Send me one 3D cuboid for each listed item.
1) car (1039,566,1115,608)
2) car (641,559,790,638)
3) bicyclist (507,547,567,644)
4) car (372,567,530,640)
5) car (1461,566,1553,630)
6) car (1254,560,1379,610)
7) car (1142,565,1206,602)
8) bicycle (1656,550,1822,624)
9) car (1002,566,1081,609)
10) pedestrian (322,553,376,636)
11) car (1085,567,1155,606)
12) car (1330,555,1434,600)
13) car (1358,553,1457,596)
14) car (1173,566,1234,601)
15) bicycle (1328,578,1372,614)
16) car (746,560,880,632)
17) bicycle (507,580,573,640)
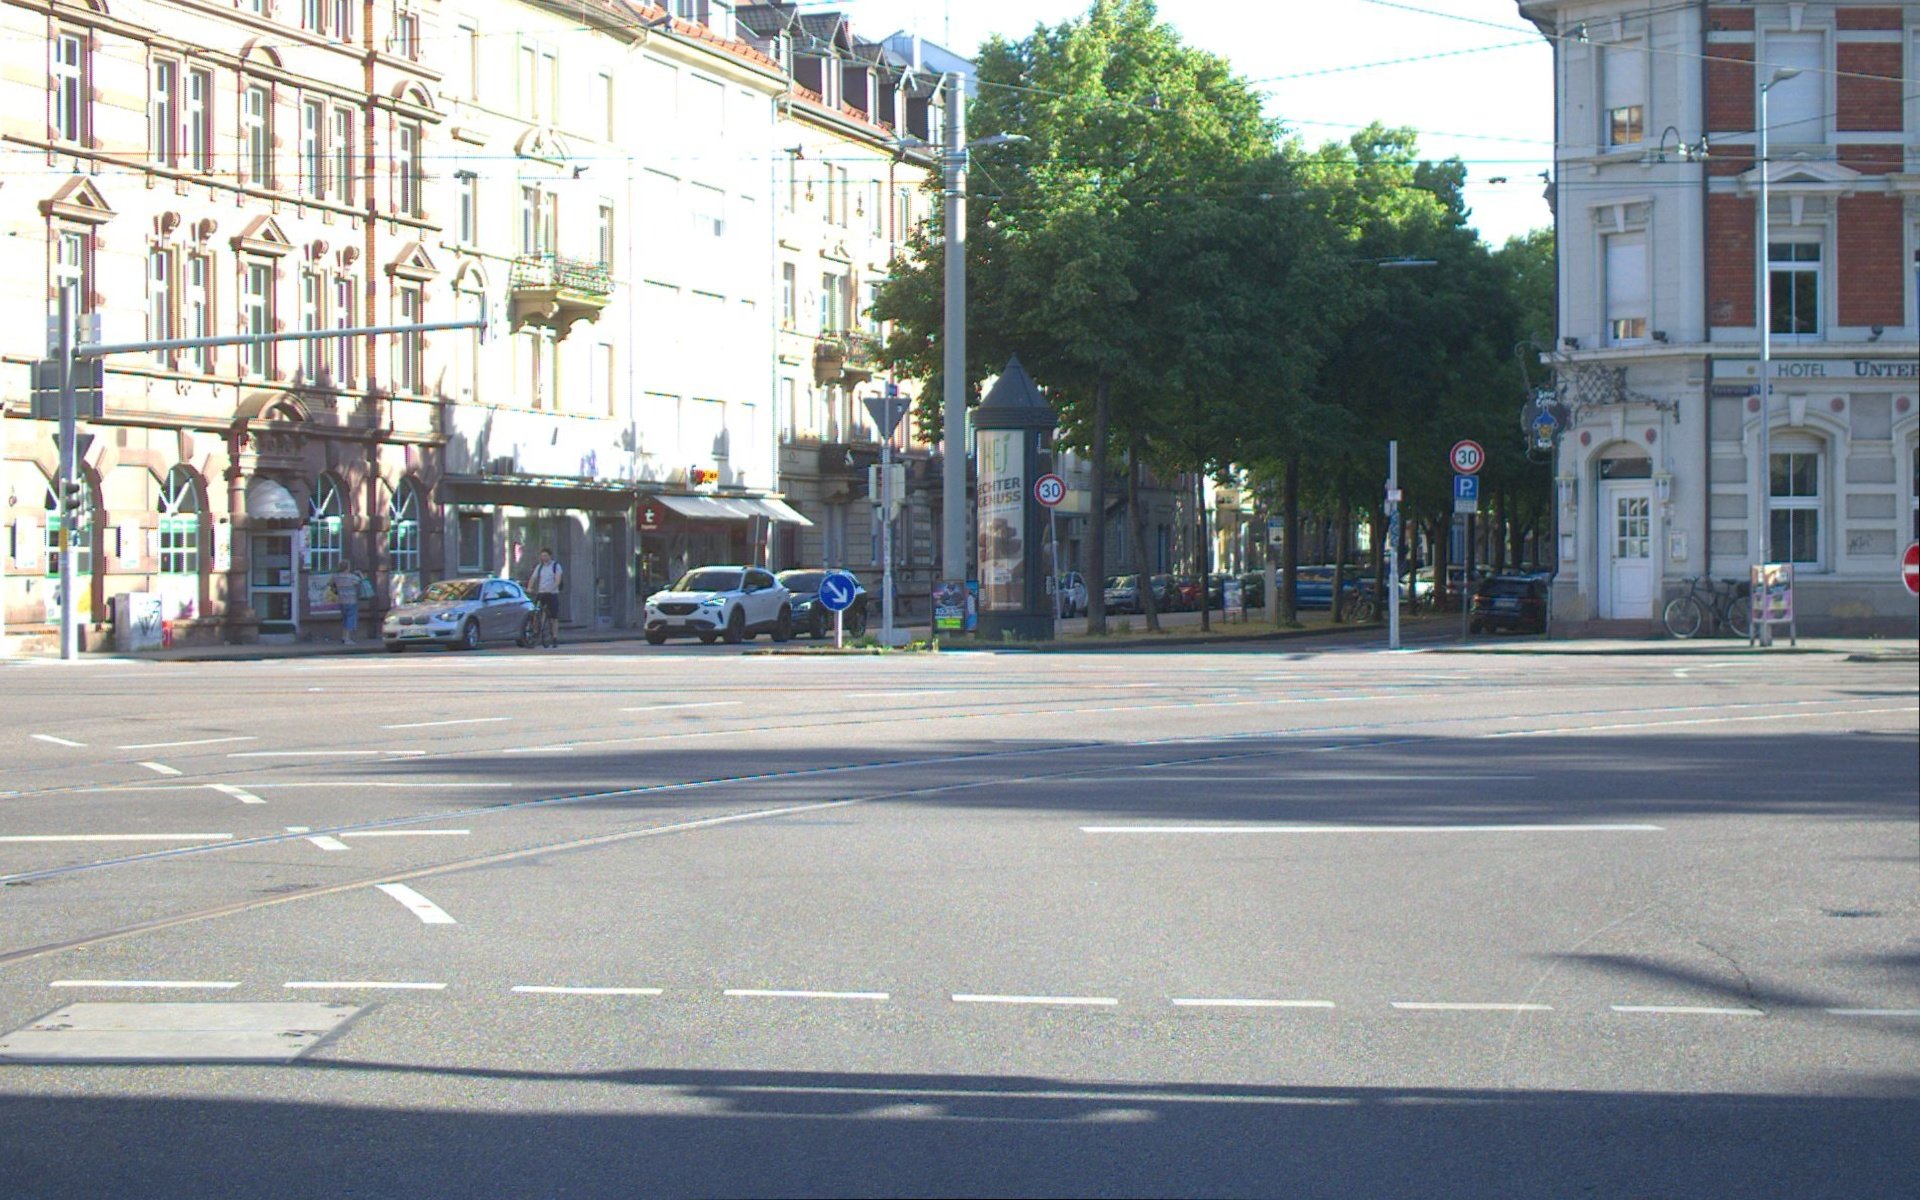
[{"bbox_3d":[3.942,-0.449,115.474,1.678,1.349,3.588,0,1,17],"label":"car"},{"bbox_3d":[-4.757,-0.055,67.309,1.678,1.478,3.768,0,1,17],"label":"car"},{"bbox_3d":[-8.010,-0.090,65.134,0.779,1.797,1.055,1,0,14],"label":"bicyclist"},{"bbox_3d":[-9.867,0.054,66.905,1.678,1.349,3.588,0,1,17],"label":"car"},{"bbox_3d":[13.156,-0.062,82.567,1.678,1.478,3.945,0,1,17],"label":"car"},{"bbox_3d":[12.000,-0.516,115.672,3.905,1.642,1.681,0,1,17],"label":"car"},{"bbox_3d":[8.151,-0.621,130.741,1.678,1.349,3.588,0,1,17],"label":"car"},{"bbox_3d":[12.973,-0.211,57.269,2.554,1.170,0.819,1,0,-3],"label":"bicycle"},{"bbox_3d":[2.644,-0.406,111.317,1.678,1.349,3.588,0,1,17],"label":"car"},{"bbox_3d":[-12.372,-0.115,69.652,0.776,1.664,0.830,1,0,15],"label":"pedestrian"},{"bbox_3d":[5.714,-0.497,122.435,1.678,1.349,3.588,0,1,17],"label":"car"},{"bbox_3d":[15.723,-0.854,128.026,3.582,1.642,1.681,0,1,17],"label":"car"},{"bbox_3d":[17.398,-1.009,133.500,3.582,1.642,1.681,0,1,17],"label":"car"},{"bbox_3d":[9.623,-0.661,135.772,1.678,1.349,3.588,0,1,17],"label":"car"},{"bbox_3d":[11.269,-0.109,99.478,0.636,1.018,1.847,1,1,-14],"label":"bicycle"},{"bbox_3d":[-3.114,-0.105,73.610,1.678,1.478,3.945,0,1,17],"label":"car"},{"bbox_3d":[-7.974,0.183,65.260,0.702,1.114,1.634,1,1,13],"label":"bicycle"}]
